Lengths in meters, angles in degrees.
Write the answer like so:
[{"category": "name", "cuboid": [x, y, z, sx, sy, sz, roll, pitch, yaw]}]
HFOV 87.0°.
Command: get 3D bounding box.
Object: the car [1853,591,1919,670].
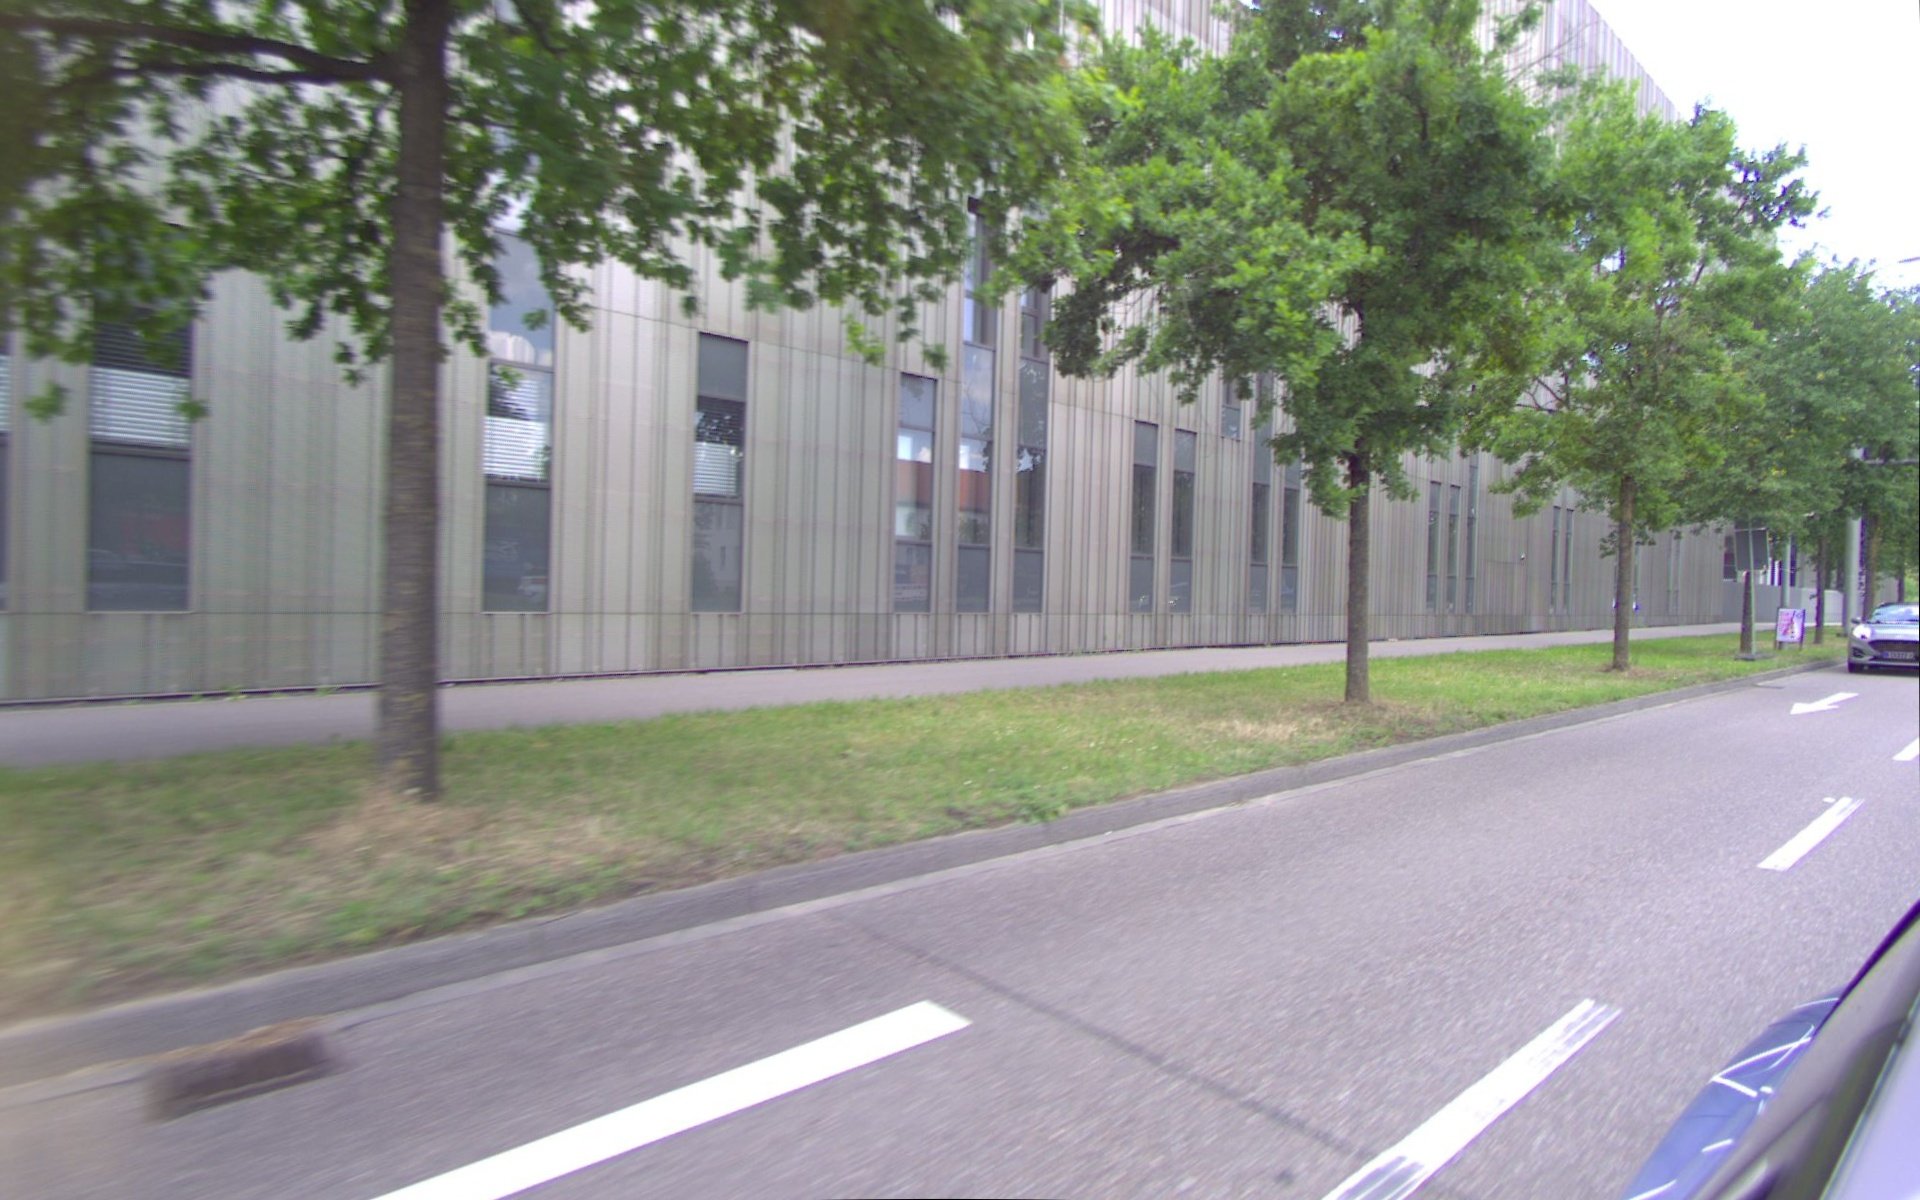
[{"category": "car", "cuboid": [20.789, 0.628, 21.811, 3.885, 1.594, 1.822, 0, -1, -41]}]
